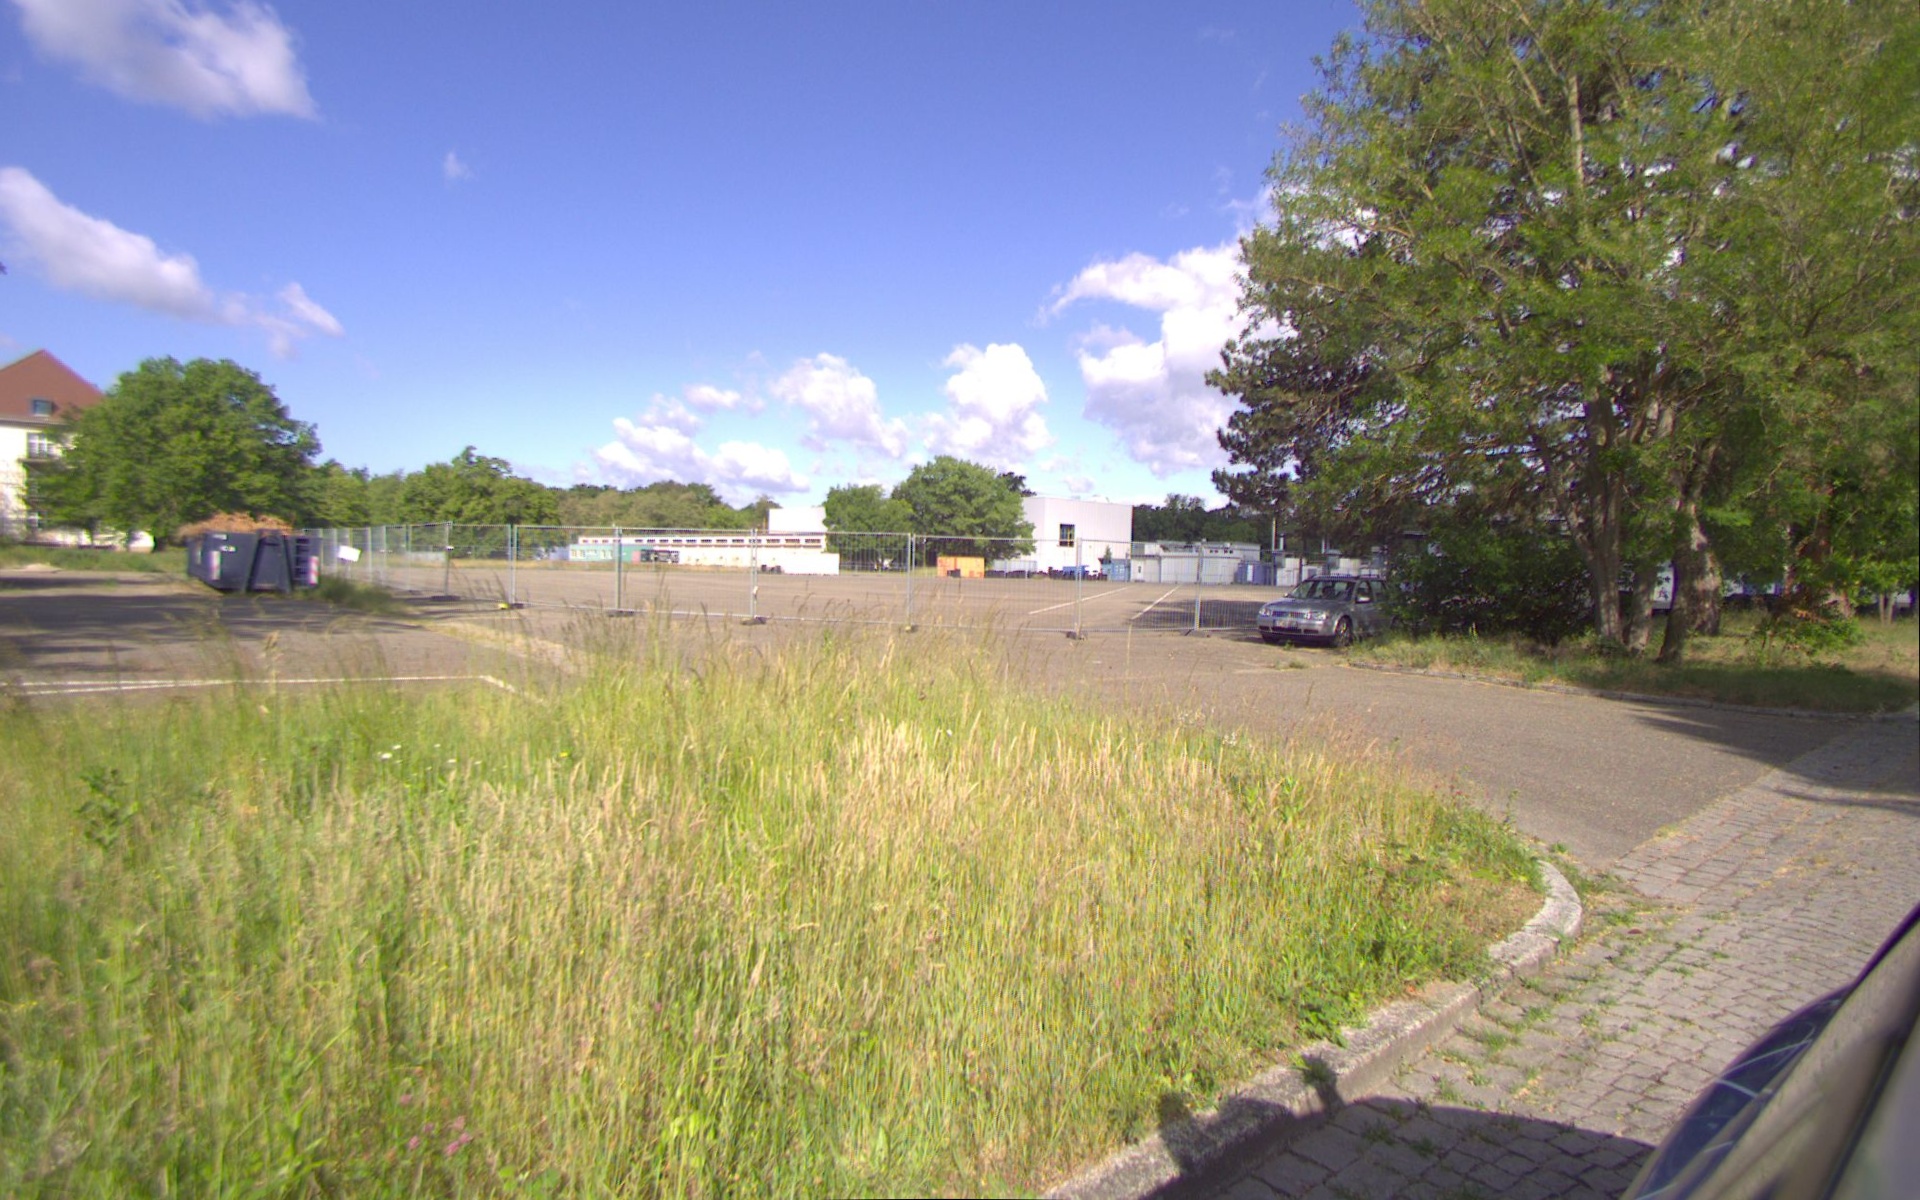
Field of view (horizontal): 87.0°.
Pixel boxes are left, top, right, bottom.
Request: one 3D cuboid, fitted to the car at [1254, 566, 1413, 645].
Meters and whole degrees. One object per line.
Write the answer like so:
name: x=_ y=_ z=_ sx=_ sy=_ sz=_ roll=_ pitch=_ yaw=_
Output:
car: x=7.898 y=0.071 z=21.218 sx=3.921 sy=1.461 sz=1.576 roll=0 pitch=3 yaw=-44
